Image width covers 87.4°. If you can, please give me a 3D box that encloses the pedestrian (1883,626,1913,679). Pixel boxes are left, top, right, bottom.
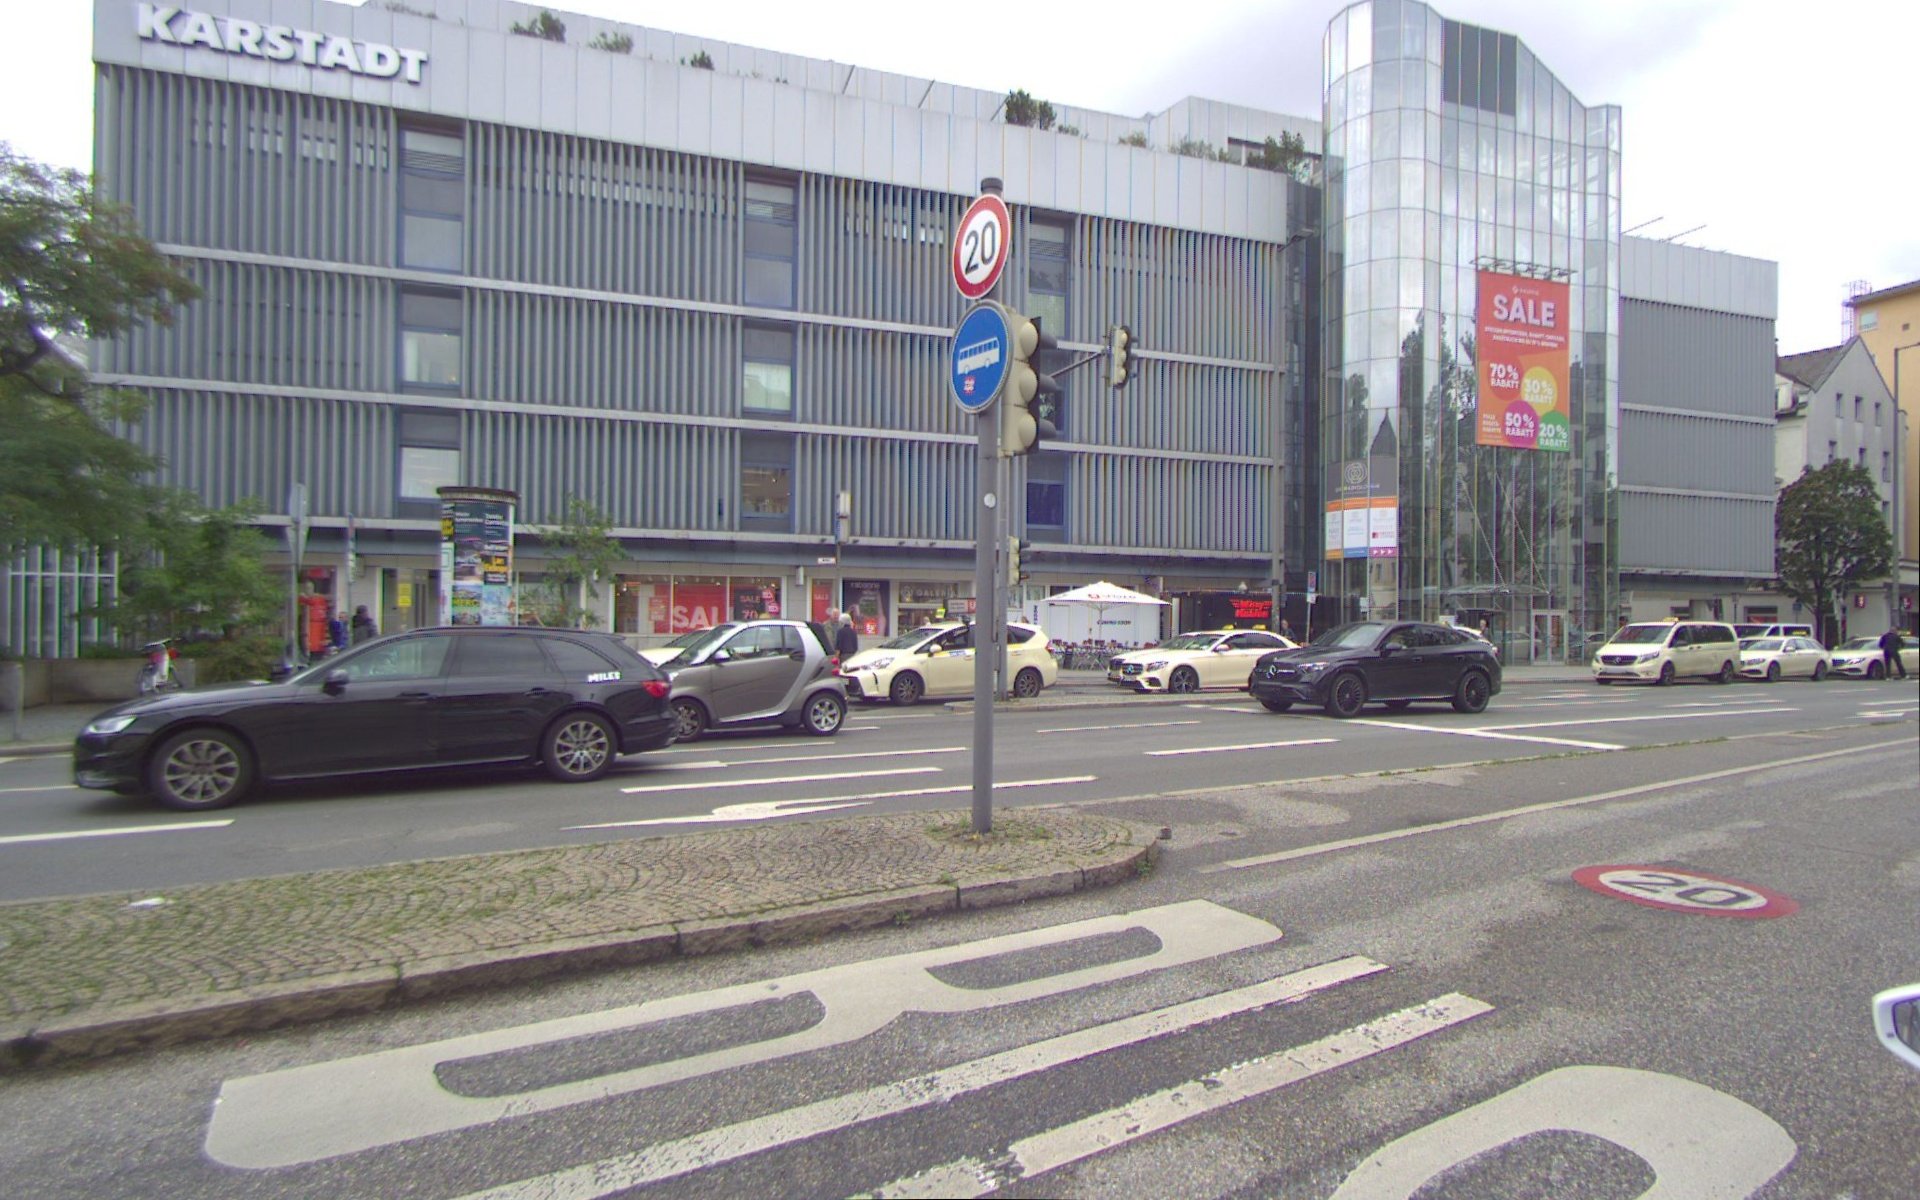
[{"bbox_3d":[30.928,1.724,33.123,0.686,1.720,0.621,-1,-1,43],"label":"pedestrian"}]

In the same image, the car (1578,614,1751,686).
[{"bbox_3d":[21.351,1.462,30.415,5.451,2.040,1.987,1,-1,-27],"label":"car"}]

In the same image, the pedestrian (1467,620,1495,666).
[{"bbox_3d":[20.028,1.648,38.598,0.661,1.745,0.650,1,1,-21],"label":"pedestrian"}]

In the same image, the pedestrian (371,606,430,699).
[{"bbox_3d":[-11.059,1.015,19.871,0.739,1.796,0.770,0,-1,36],"label":"pedestrian"}]

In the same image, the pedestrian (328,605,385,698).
[{"bbox_3d":[-11.162,0.931,18.599,0.740,1.676,0.769,1,-1,-20],"label":"pedestrian"}]

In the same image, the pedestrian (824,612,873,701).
[{"bbox_3d":[-2.201,1.101,19.812,0.741,1.713,0.768,1,-1,-26],"label":"pedestrian"}]

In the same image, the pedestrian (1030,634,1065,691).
[{"bbox_3d":[2.138,1.511,24.491,0.654,1.371,0.545,1,-1,-26],"label":"pedestrian"}]

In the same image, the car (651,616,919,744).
[{"bbox_3d":[-2.405,1.028,13.850,3.340,1.572,1.619,1,-1,-27],"label":"car"}]

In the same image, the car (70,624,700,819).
[{"bbox_3d":[-4.887,0.929,9.187,4.546,1.401,1.836,1,-1,-30],"label":"car"}]

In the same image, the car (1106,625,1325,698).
[{"bbox_3d":[5.808,1.341,22.873,4.567,1.528,1.990,1,-1,-22],"label":"car"}]

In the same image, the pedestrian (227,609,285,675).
[{"bbox_3d":[-17.433,1.026,24.899,0.962,1.602,0.796,1,-1,-20],"label":"pedestrian"}]

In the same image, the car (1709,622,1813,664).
[{"bbox_3d":[35.975,1.917,45.119,4.180,1.795,1.866,1,-1,-22],"label":"car"}]

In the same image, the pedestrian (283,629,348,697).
[{"bbox_3d":[-12.578,1.212,19.623,1.032,1.292,0.542,1,-1,-30],"label":"pedestrian"}]

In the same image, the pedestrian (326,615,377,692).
[{"bbox_3d":[-12.820,1.103,21.168,0.762,1.575,0.747,-1,-1,44],"label":"pedestrian"}]

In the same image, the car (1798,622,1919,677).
[{"bbox_3d":[31.676,1.687,34.893,4.465,1.840,1.991,1,-1,-21],"label":"car"}]

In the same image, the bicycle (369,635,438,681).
[{"bbox_3d":[-14.913,1.511,27.013,0.774,1.114,3.431,1,-1,-14],"label":"bicycle"}]

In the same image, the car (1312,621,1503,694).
[{"bbox_3d":[11.143,1.383,25.091,4.117,1.701,1.992,1,-1,-18],"label":"car"}]

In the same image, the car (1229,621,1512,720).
[{"bbox_3d":[7.175,1.159,17.558,4.521,1.554,1.989,1,-1,-23],"label":"car"}]

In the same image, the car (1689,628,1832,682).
[{"bbox_3d":[26.221,1.753,32.895,4.474,1.677,1.987,1,-1,-27],"label":"car"}]

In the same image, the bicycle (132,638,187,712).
[{"bbox_3d":[-13.204,1.203,16.591,0.368,1.126,1.568,1,-1,-26],"label":"bicycle"}]

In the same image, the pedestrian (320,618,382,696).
[{"bbox_3d":[-12.169,1.116,20.088,0.737,1.513,0.772,0,-1,25],"label":"pedestrian"}]

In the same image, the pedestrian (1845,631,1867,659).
[{"bbox_3d":[41.685,2.095,46.734,0.618,1.307,0.557,0,-1,-20],"label":"pedestrian"}]

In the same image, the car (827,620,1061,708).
[{"bbox_3d":[-0.276,1.203,20.010,4.343,1.563,1.891,1,-1,-32],"label":"car"}]

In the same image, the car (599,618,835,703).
[{"bbox_3d":[-4.892,1.166,20.664,1.972,1.556,4.389,-1,-2,43],"label":"car"}]

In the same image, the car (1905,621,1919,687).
[{"bbox_3d":[27.527,1.433,26.639,4.855,1.714,1.987,1,-1,-26],"label":"car"}]

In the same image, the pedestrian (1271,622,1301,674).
[{"bbox_3d":[10.819,1.578,33.341,0.700,1.714,0.651,1,-1,-18],"label":"pedestrian"}]

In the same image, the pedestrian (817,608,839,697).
[{"bbox_3d":[-2.691,1.057,20.452,0.348,1.783,0.447,0,-1,5],"label":"pedestrian"}]

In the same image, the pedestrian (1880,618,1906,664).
[{"bbox_3d":[37.584,1.637,40.461,0.618,1.841,0.557,1,-1,-20],"label":"pedestrian"}]
